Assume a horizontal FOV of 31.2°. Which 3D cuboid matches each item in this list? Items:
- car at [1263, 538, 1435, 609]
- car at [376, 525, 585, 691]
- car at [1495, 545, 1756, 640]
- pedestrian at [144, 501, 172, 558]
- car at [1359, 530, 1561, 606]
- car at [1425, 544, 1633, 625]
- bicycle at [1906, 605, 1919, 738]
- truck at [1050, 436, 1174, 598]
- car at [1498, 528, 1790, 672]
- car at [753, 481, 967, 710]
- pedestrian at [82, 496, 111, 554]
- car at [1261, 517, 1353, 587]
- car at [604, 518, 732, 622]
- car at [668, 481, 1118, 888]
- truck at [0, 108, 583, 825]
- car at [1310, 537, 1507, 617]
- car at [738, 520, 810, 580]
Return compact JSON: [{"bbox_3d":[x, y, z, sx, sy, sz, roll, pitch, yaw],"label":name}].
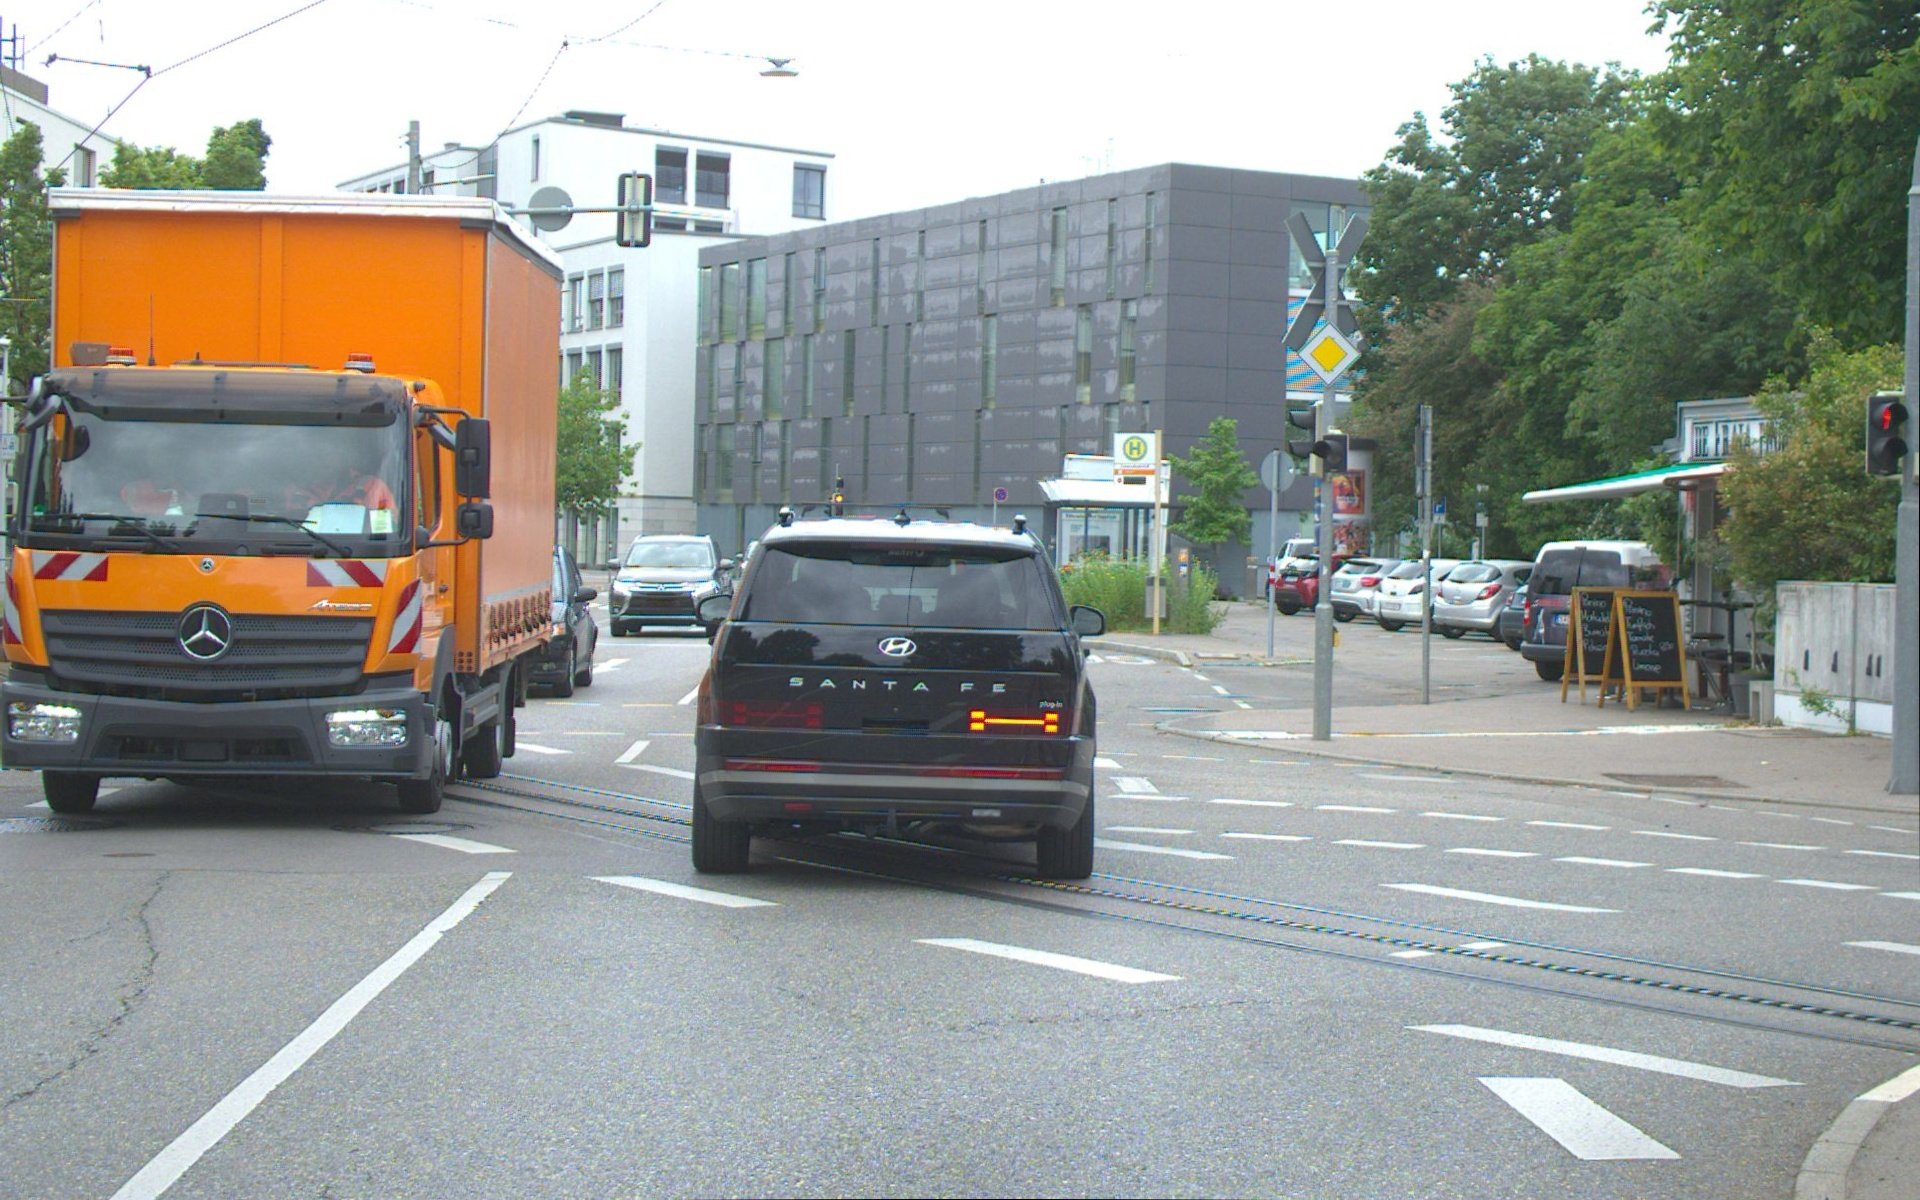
[{"bbox_3d":[8.866,-0.599,78.351,3.491,1.450,1.681,2,0,-28],"label":"car"},{"bbox_3d":[-4.629,0.034,33.591,1.674,1.500,3.734,-1,1,-3],"label":"car"},{"bbox_3d":[11.007,-0.118,56.836,3.987,1.472,1.880,1,1,-32],"label":"car"},{"bbox_3d":[-24.349,-2.133,104.384,0.613,1.688,0.785,2,0,-1],"label":"pedestrian"},{"bbox_3d":[9.765,-0.624,67.120,3.638,1.430,1.592,-1,0,-27],"label":"car"},{"bbox_3d":[10.304,-0.295,62.210,3.505,1.373,1.547,0,3,-31],"label":"car"},{"bbox_3d":[8.757,0.696,29.114,0.548,1.135,1.879,1,4,-13],"label":"bicycle"},{"bbox_3d":[3.431,-1.914,79.358,2.573,3.513,7.810,1,1,1],"label":"truck"},{"bbox_3d":[8.973,-0.048,44.835,1.849,1.742,4.685,2,2,37],"label":"car"},{"bbox_3d":[-1.028,-0.101,33.037,1.855,2.026,4.438,1,2,-4],"label":"car"},{"bbox_3d":[-25.874,-2.250,102.985,0.613,1.688,0.785,2,0,-1],"label":"pedestrian"},{"bbox_3d":[9.361,-1.290,92.977,1.993,1.831,4.518,0,1,-1],"label":"car"},{"bbox_3d":[-4.817,-0.529,57.138,1.788,1.656,4.277,0,1,-1],"label":"car"},{"bbox_3d":[-0.400,0.326,17.342,1.915,1.719,4.171,3,1,-3],"label":"car"},{"bbox_3d":[-4.186,-0.772,22.248,2.768,3.706,8.470,-1,1,-2],"label":"truck"},{"bbox_3d":[9.541,-0.483,73.141,3.790,1.468,1.798,3,0,-30],"label":"car"},{"bbox_3d":[-4.907,-1.330,91.106,1.739,1.554,4.184,0,1,-1],"label":"car"}]
